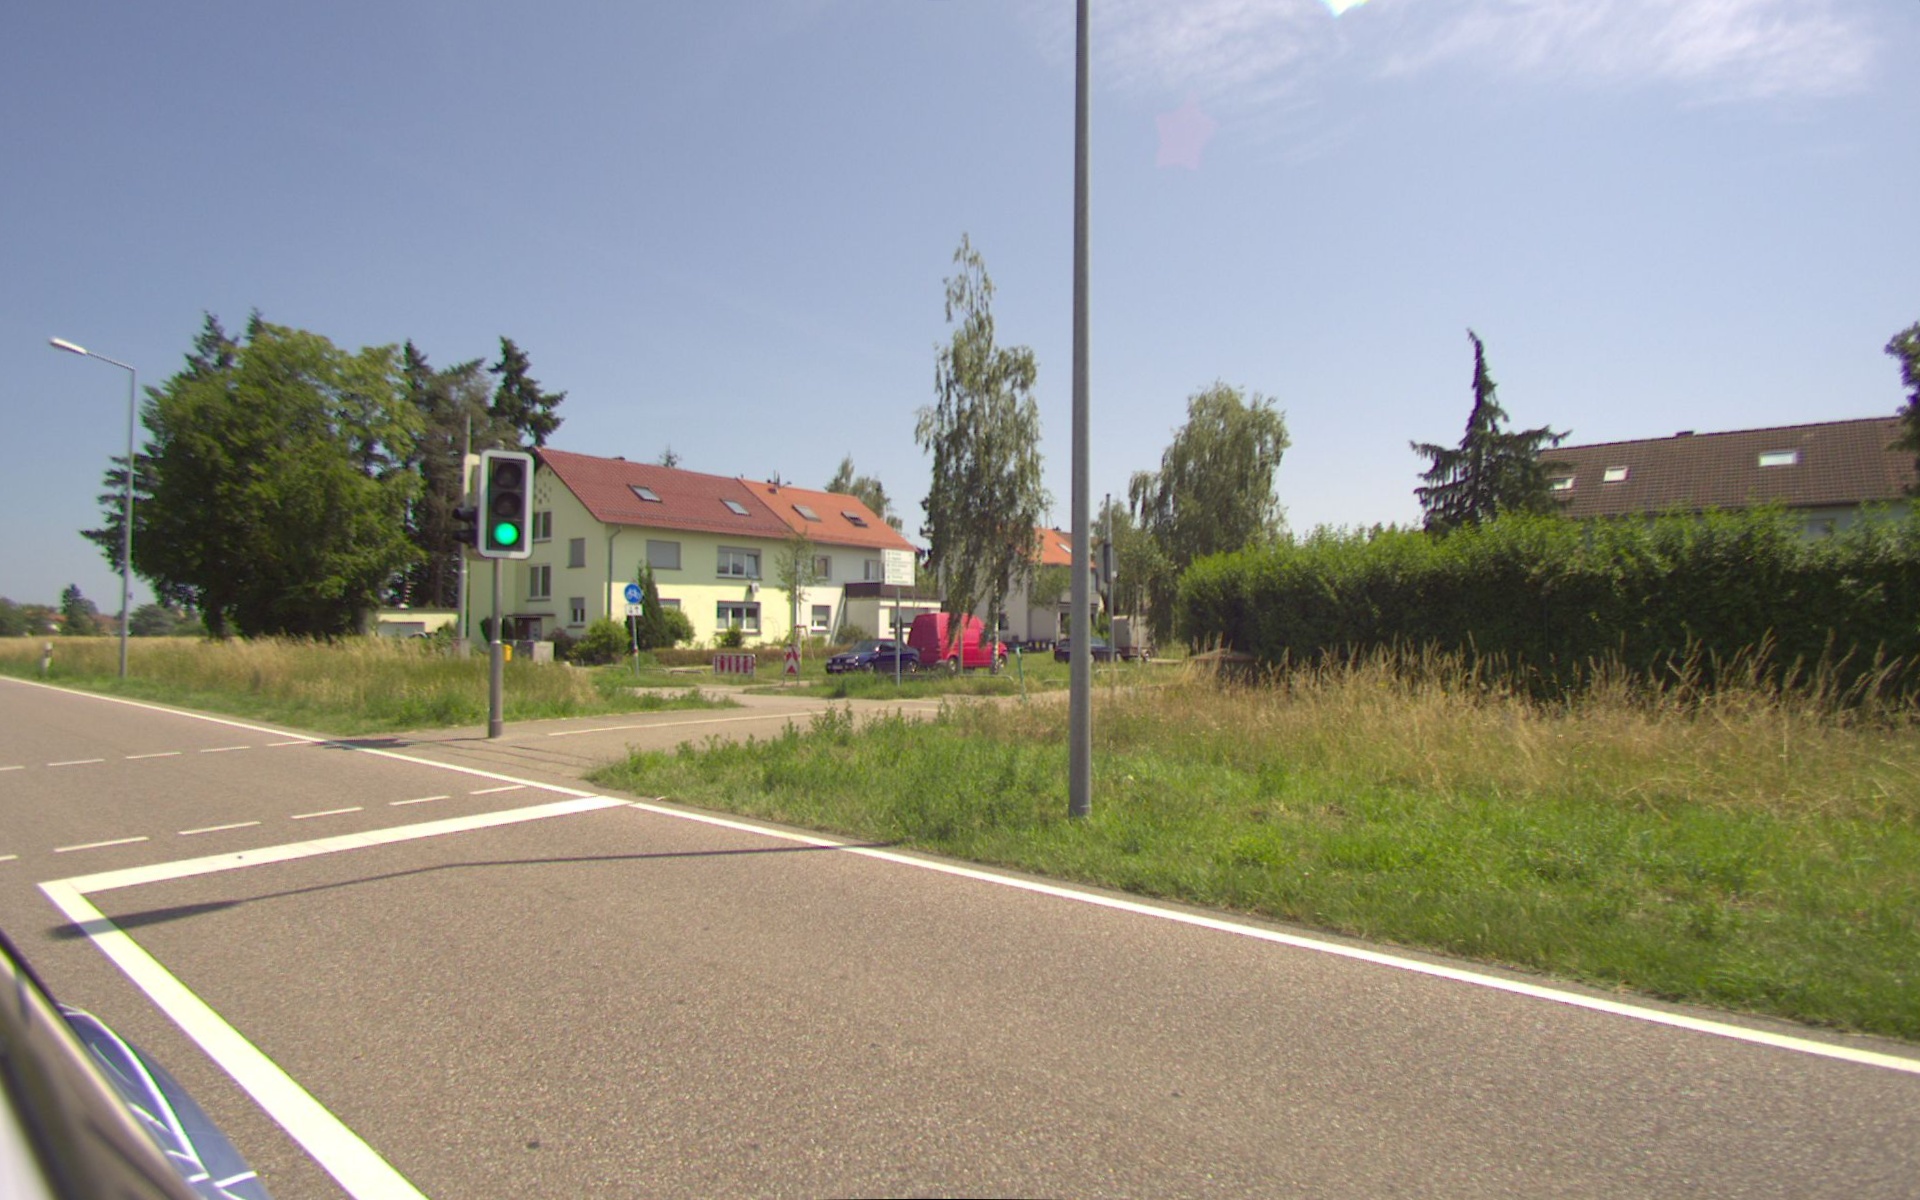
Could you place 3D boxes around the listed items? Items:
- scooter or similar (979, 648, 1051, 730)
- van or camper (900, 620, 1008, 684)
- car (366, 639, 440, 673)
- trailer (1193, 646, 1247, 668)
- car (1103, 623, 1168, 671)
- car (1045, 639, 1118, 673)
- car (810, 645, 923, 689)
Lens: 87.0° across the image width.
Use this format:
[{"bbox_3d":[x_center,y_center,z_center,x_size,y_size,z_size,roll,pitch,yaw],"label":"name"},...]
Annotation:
[{"bbox_3d":[0.805,1.271,14.738,0.646,1.136,1.010,-2,-3,31],"label":"scooter or similar"},{"bbox_3d":[-0.165,2.045,41.373,1.996,2.406,4.711,-2,-1,36],"label":"van or camper"},{"bbox_3d":[-26.472,2.624,48.024,4.183,1.503,1.689,-2,-1,40],"label":"car"},{"bbox_3d":[16.766,3.655,65.131,1.866,1.234,4.431,-2,-1,37],"label":"trailer"},{"bbox_3d":[9.605,2.529,55.164,1.866,2.418,3.950,-2,-1,37],"label":"car"},{"bbox_3d":[6.018,2.731,49.978,1.866,1.530,3.950,-2,-1,37],"label":"car"},{"bbox_3d":[-3.352,2.395,36.983,1.996,1.364,3.951,-2,-1,36],"label":"car"}]
